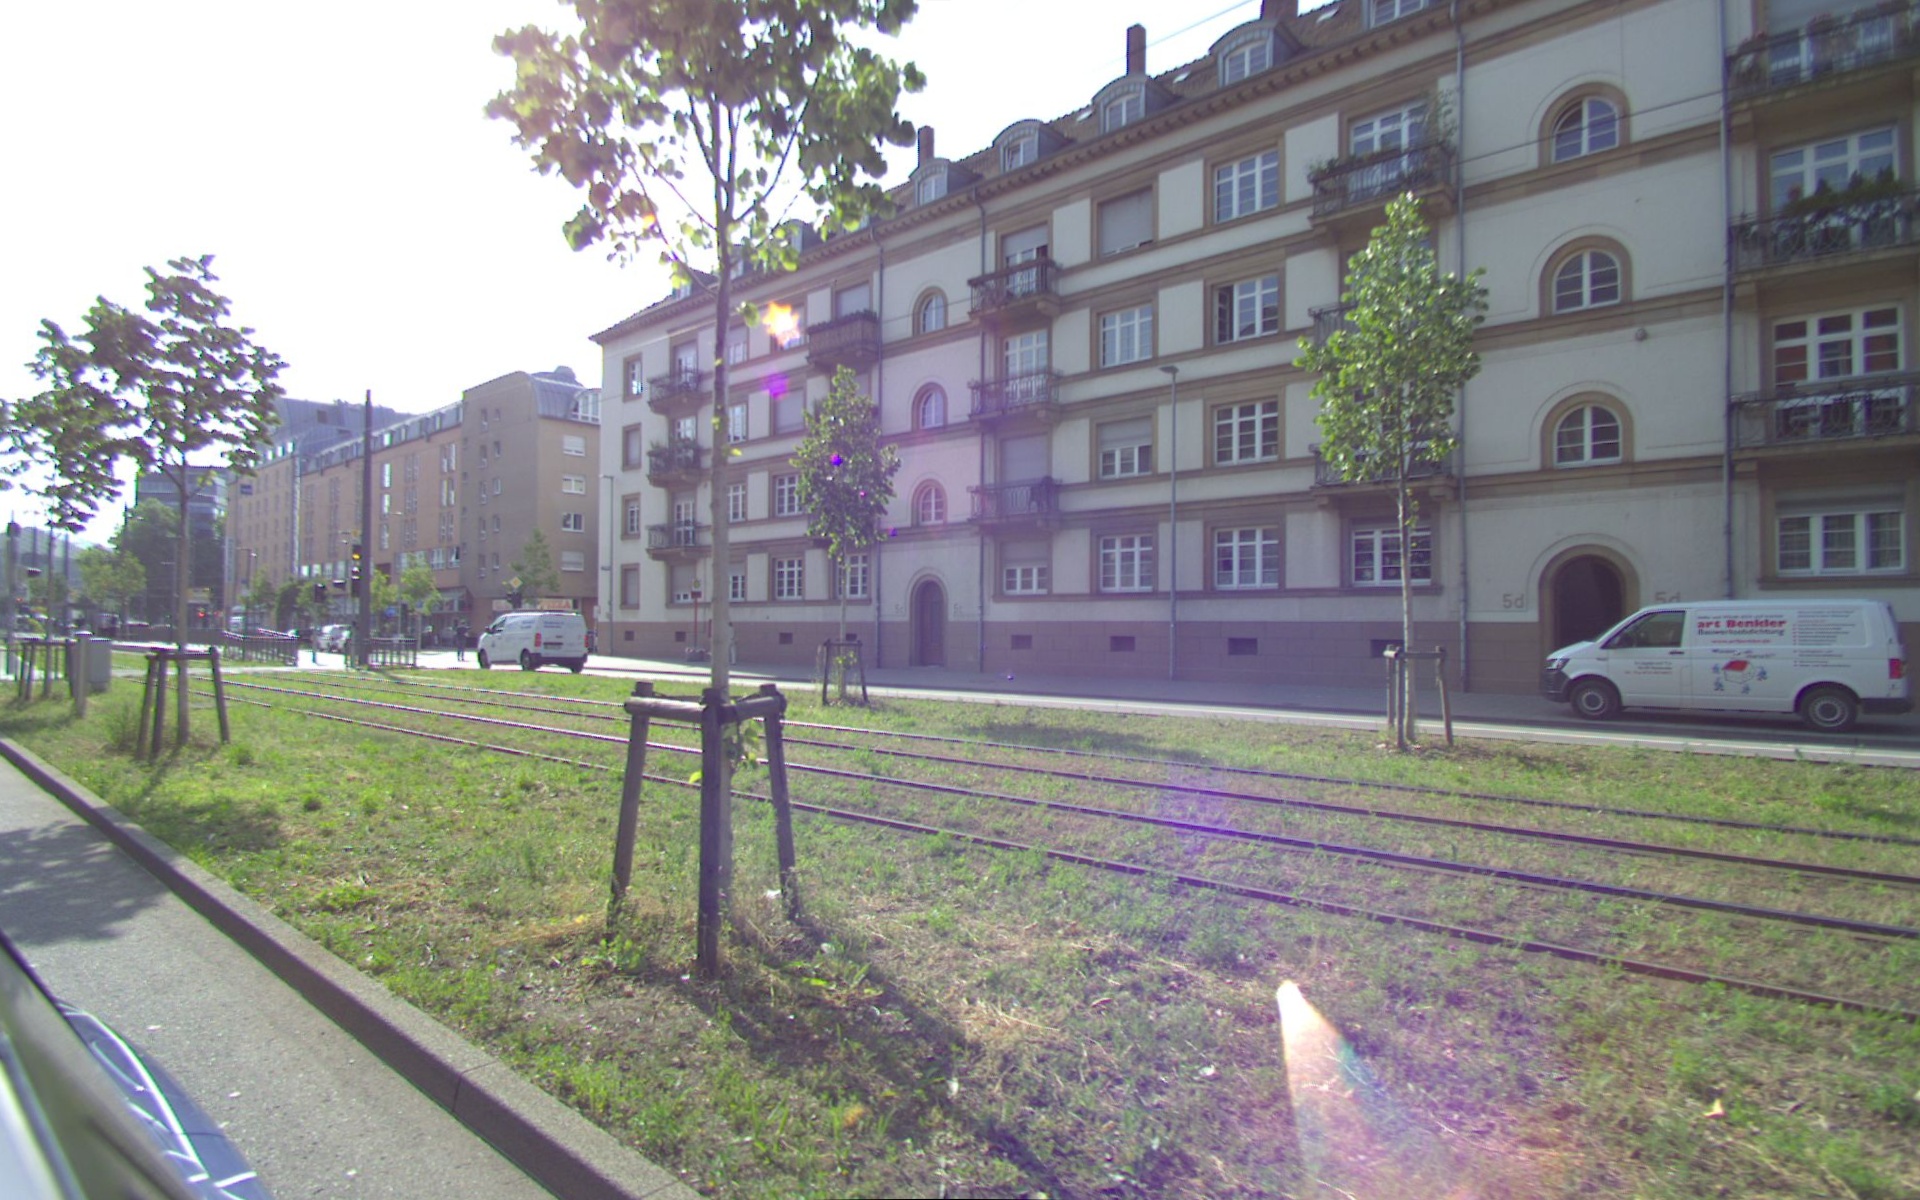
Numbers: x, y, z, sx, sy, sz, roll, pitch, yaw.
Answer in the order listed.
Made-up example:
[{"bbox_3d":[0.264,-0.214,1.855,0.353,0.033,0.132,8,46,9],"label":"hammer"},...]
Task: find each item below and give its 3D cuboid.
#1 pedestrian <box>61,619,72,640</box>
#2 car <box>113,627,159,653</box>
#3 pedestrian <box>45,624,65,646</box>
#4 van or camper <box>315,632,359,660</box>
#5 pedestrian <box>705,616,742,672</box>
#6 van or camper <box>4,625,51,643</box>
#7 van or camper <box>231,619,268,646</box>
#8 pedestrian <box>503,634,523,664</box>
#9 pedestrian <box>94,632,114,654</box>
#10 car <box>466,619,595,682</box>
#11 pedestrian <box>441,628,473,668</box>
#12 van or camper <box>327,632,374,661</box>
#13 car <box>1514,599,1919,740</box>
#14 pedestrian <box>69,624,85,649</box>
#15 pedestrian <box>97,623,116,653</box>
[{"bbox_3d":[-77.495,2.552,87.747,0.698,1.774,0.644,-1,0,42],"label":"pedestrian"},{"bbox_3d":[-65.849,3.217,80.874,4.928,2.029,1.973,-2,-3,41],"label":"car"},{"bbox_3d":[-74.196,2.903,82.952,0.825,1.760,0.784,1,-3,5],"label":"pedestrian"},{"bbox_3d":[-46.010,3.369,74.680,1.970,2.029,4.003,2,-3,-44],"label":"van or camper"},{"bbox_3d":[-8.888,1.634,38.039,1.156,2.084,0.833,-2,-2,42],"label":"pedestrian"},{"bbox_3d":[-116.658,4.228,126.649,3.924,2.228,1.938,0,-2,-6],"label":"van or camper"},{"bbox_3d":[-75.773,3.471,107.878,5.351,2.823,1.972,-2,-3,42],"label":"van or camper"},{"bbox_3d":[-23.613,2.580,53.442,0.807,1.595,0.671,-2,-3,38],"label":"pedestrian"},{"bbox_3d":[-60.012,3.015,70.956,0.803,1.542,0.676,0,-2,11],"label":"pedestrian"},{"bbox_3d":[-14.262,1.633,33.472,5.044,1.909,1.972,-2,-3,42],"label":"car"},{"bbox_3d":[-23.982,2.284,48.266,0.856,1.882,1.066,0,-2,14],"label":"pedestrian"},{"bbox_3d":[-42.424,3.216,70.441,1.907,1.983,4.003,2,-3,-44],"label":"van or camper"},{"bbox_3d":[12.111,1.019,16.422,5.152,1.932,1.972,-2,-1,42],"label":"car"},{"bbox_3d":[-66.522,2.767,76.241,0.555,1.901,0.796,-2,-3,42],"label":"pedestrian"},{"bbox_3d":[-53.812,2.386,63.780,0.939,1.886,0.731,-2,-3,41],"label":"pedestrian"}]
